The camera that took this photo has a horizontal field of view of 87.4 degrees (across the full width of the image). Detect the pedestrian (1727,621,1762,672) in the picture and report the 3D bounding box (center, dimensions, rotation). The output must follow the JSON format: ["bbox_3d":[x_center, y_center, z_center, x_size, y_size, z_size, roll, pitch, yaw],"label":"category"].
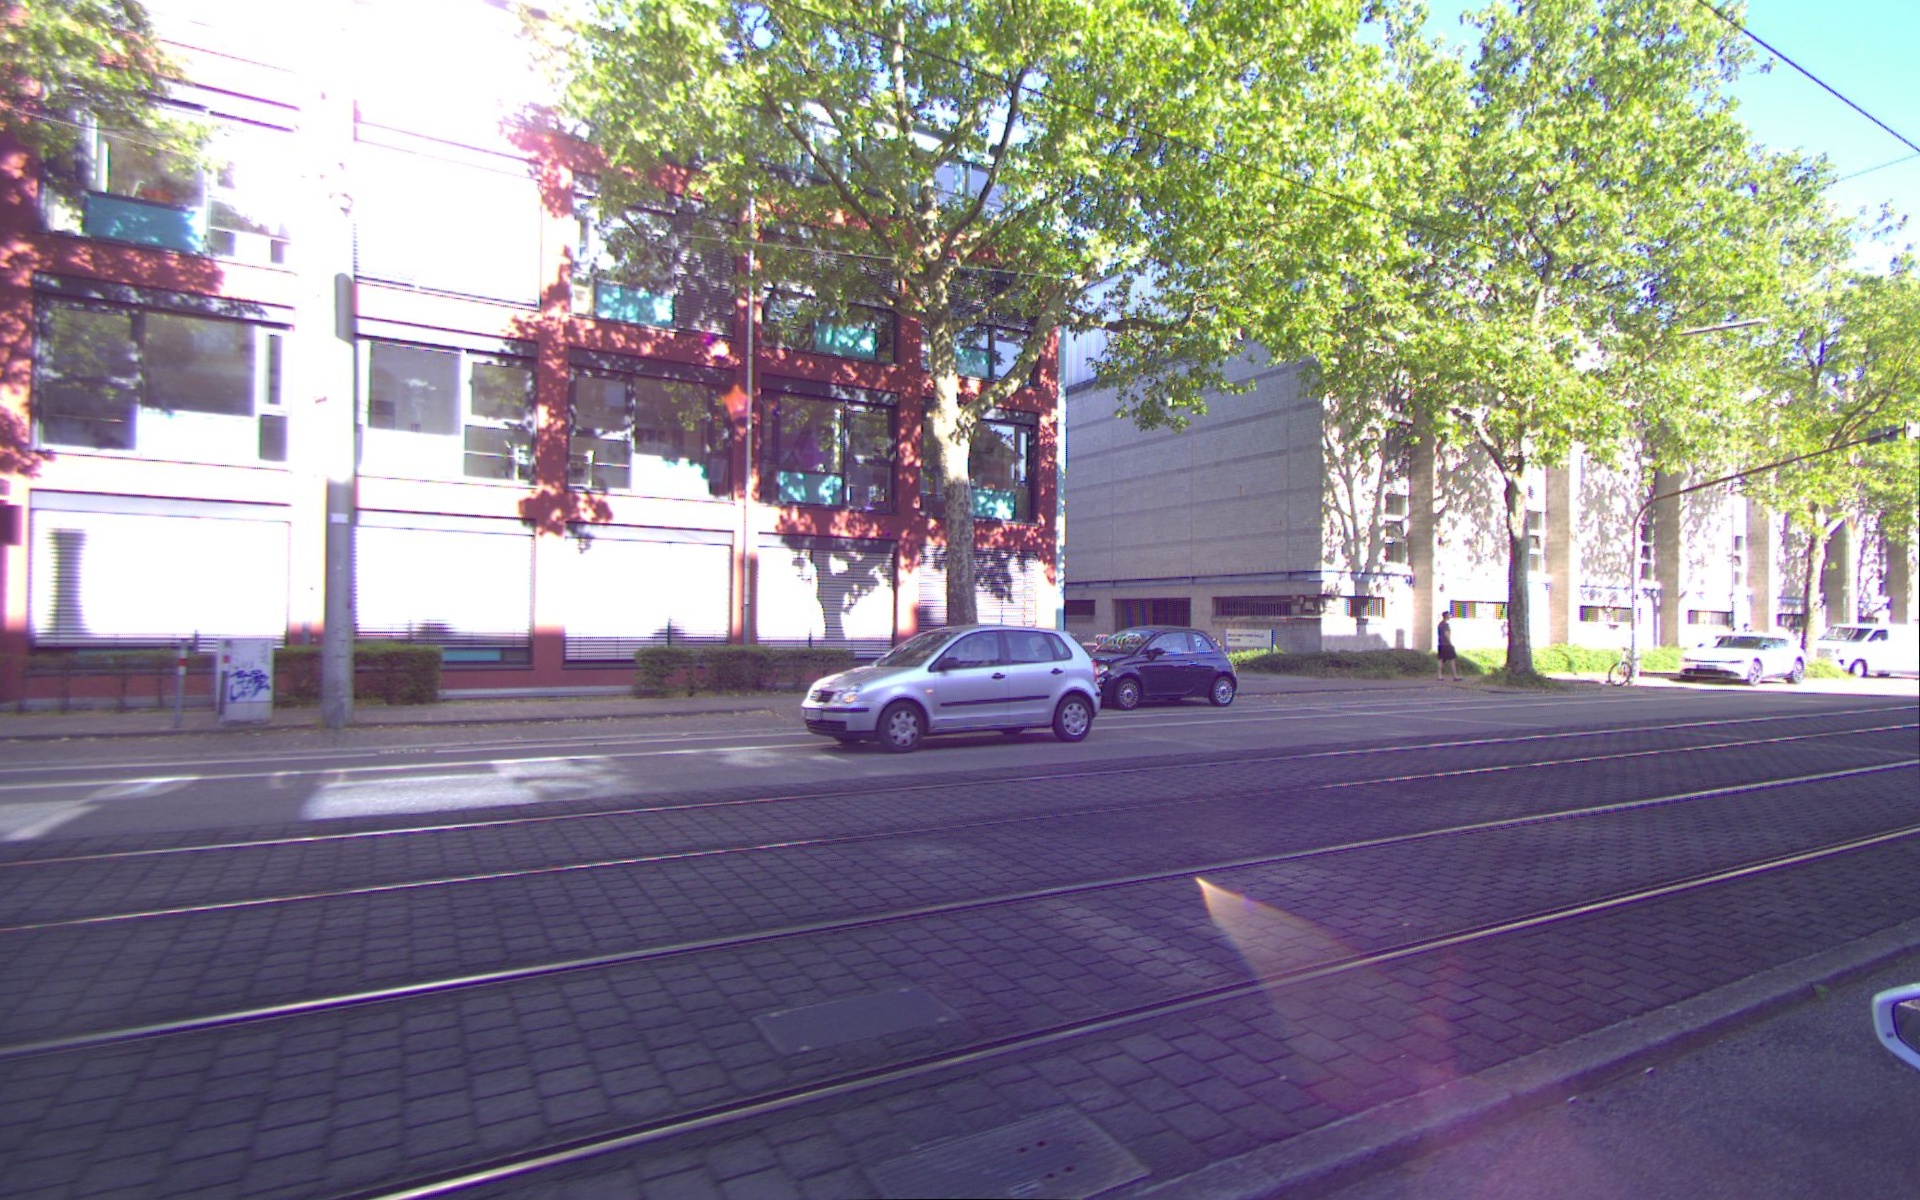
[{"bbox_3d":[28.846,1.703,36.940,0.662,1.844,0.793,1,1,-30],"label":"pedestrian"}]

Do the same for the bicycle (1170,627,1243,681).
[{"bbox_3d":[6.461,1.399,26.419,0.656,1.295,1.999,1,1,-29],"label":"bicycle"}]

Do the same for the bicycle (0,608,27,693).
[{"bbox_3d":[-15.223,0.796,15.488,0.610,1.289,2.055,1,1,-25],"label":"bicycle"}]

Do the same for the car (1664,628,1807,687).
[{"bbox_3d":[24.021,1.721,31.078,4.640,1.593,2.001,1,1,-32],"label":"car"}]

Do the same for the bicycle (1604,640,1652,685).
[{"bbox_3d":[19.060,1.765,28.650,1.638,1.225,0.577,1,1,-36],"label":"bicycle"}]

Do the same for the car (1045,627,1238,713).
[{"bbox_3d":[3.453,1.262,18.995,3.421,1.473,1.501,1,-1,-29],"label":"car"}]

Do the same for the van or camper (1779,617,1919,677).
[{"bbox_3d":[32.804,1.688,36.329,5.096,1.976,2.063,1,1,-10],"label":"van or camper"}]

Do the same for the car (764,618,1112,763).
[{"bbox_3d":[-0.220,1.056,12.535,4.025,1.538,1.744,2,-3,-32],"label":"car"}]

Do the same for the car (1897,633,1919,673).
[{"bbox_3d":[39.172,2.122,40.034,4.042,1.527,1.566,1,1,-30],"label":"car"}]

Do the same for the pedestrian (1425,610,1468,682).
[{"bbox_3d":[13.073,1.217,27.014,0.664,1.895,0.779,1,1,-36],"label":"pedestrian"}]
